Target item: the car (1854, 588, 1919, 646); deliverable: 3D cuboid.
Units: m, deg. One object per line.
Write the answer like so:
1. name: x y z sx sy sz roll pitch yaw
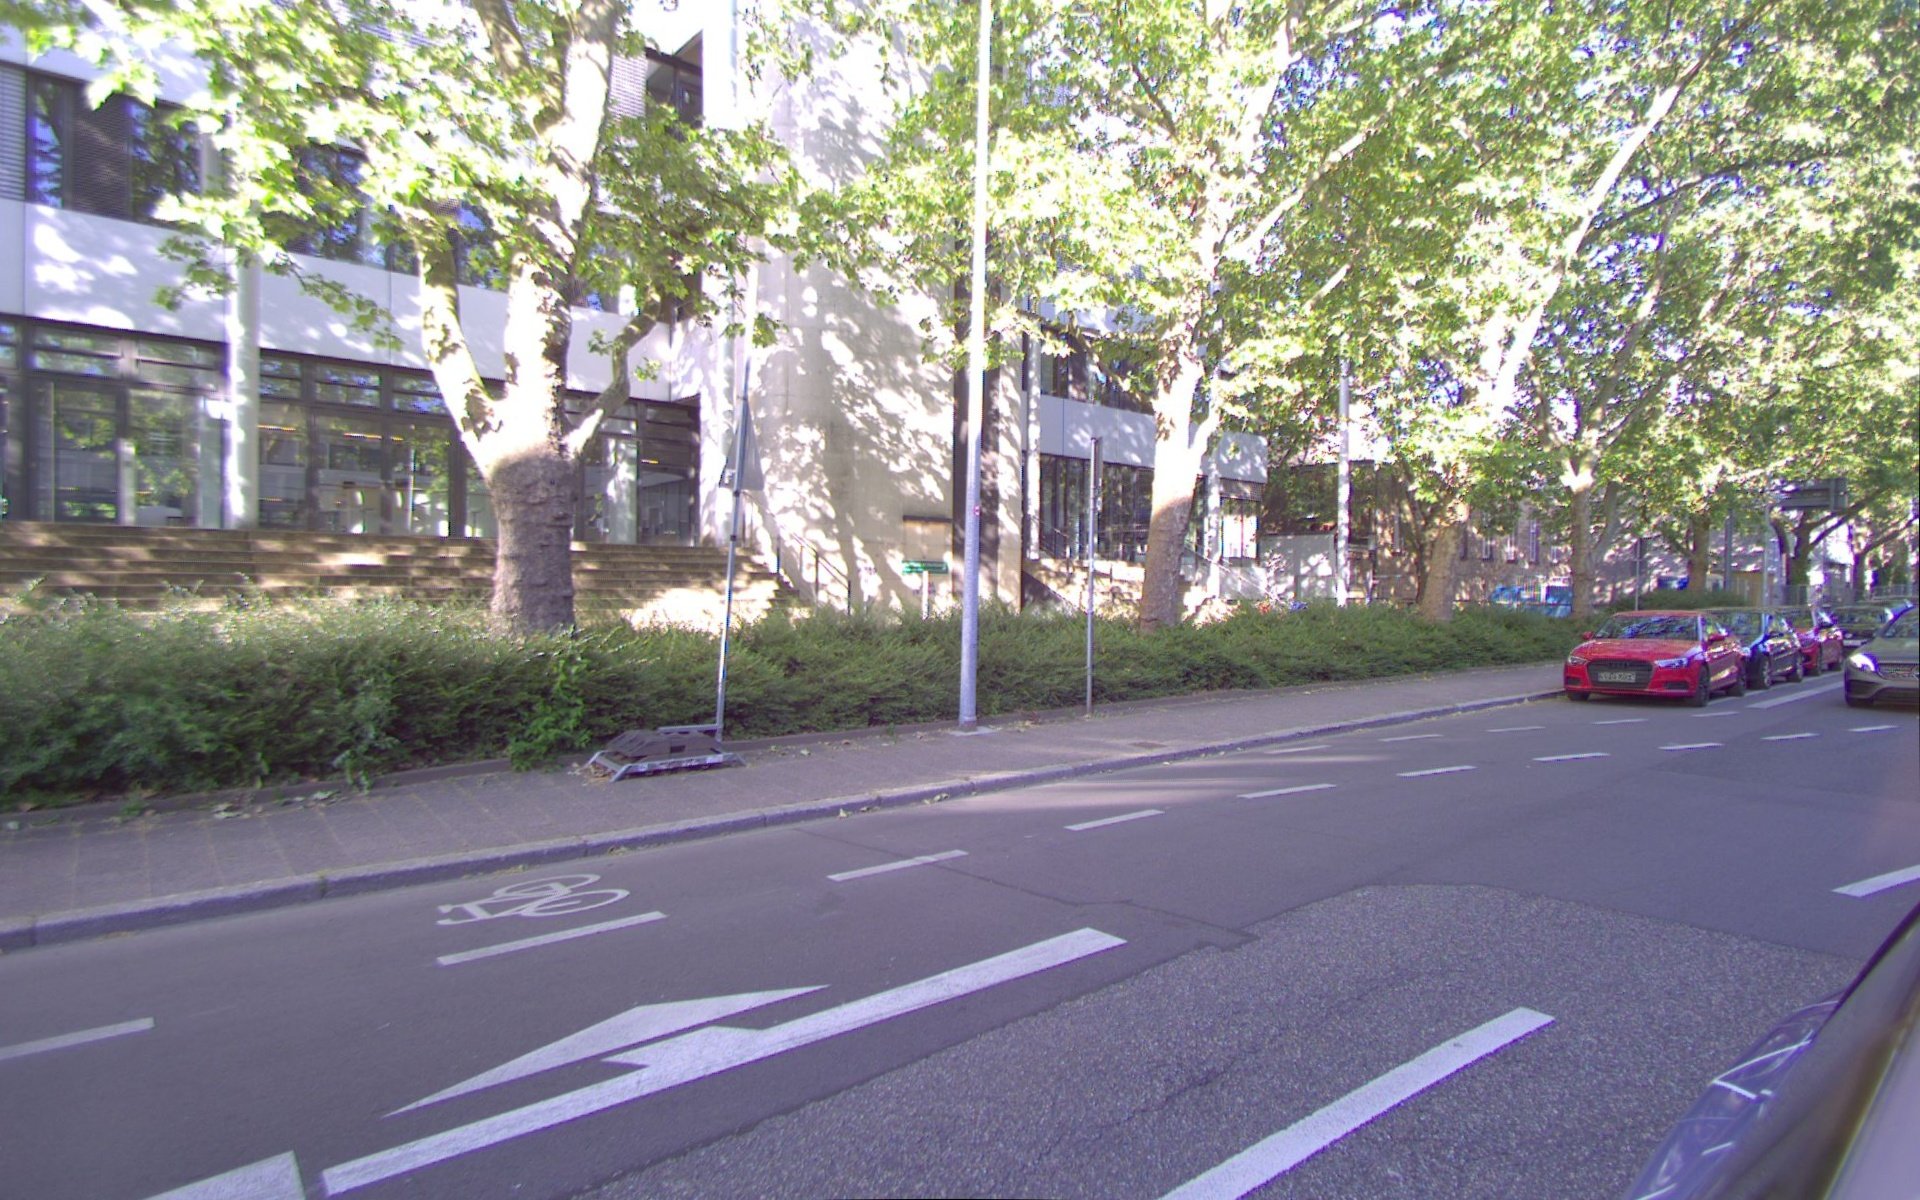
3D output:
1. car: 29.515 0.489 31.849 3.840 1.708 1.633 0 1 -42

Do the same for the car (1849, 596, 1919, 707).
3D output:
1. car: 14.769 0.675 14.767 4.585 1.483 1.917 0 -1 -39

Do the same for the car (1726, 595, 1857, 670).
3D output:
1. car: 18.583 0.672 22.566 3.851 1.511 1.679 0 -1 -42

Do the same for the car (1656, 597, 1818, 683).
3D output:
1. car: 15.013 0.706 19.487 4.022 1.472 1.739 0 -1 -42

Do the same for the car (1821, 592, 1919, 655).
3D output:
1. car: 25.950 0.617 28.762 4.022 1.653 1.739 0 1 -42

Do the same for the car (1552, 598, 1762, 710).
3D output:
1. car: 11.203 0.774 16.165 4.071 1.548 1.827 0 -1 -42
